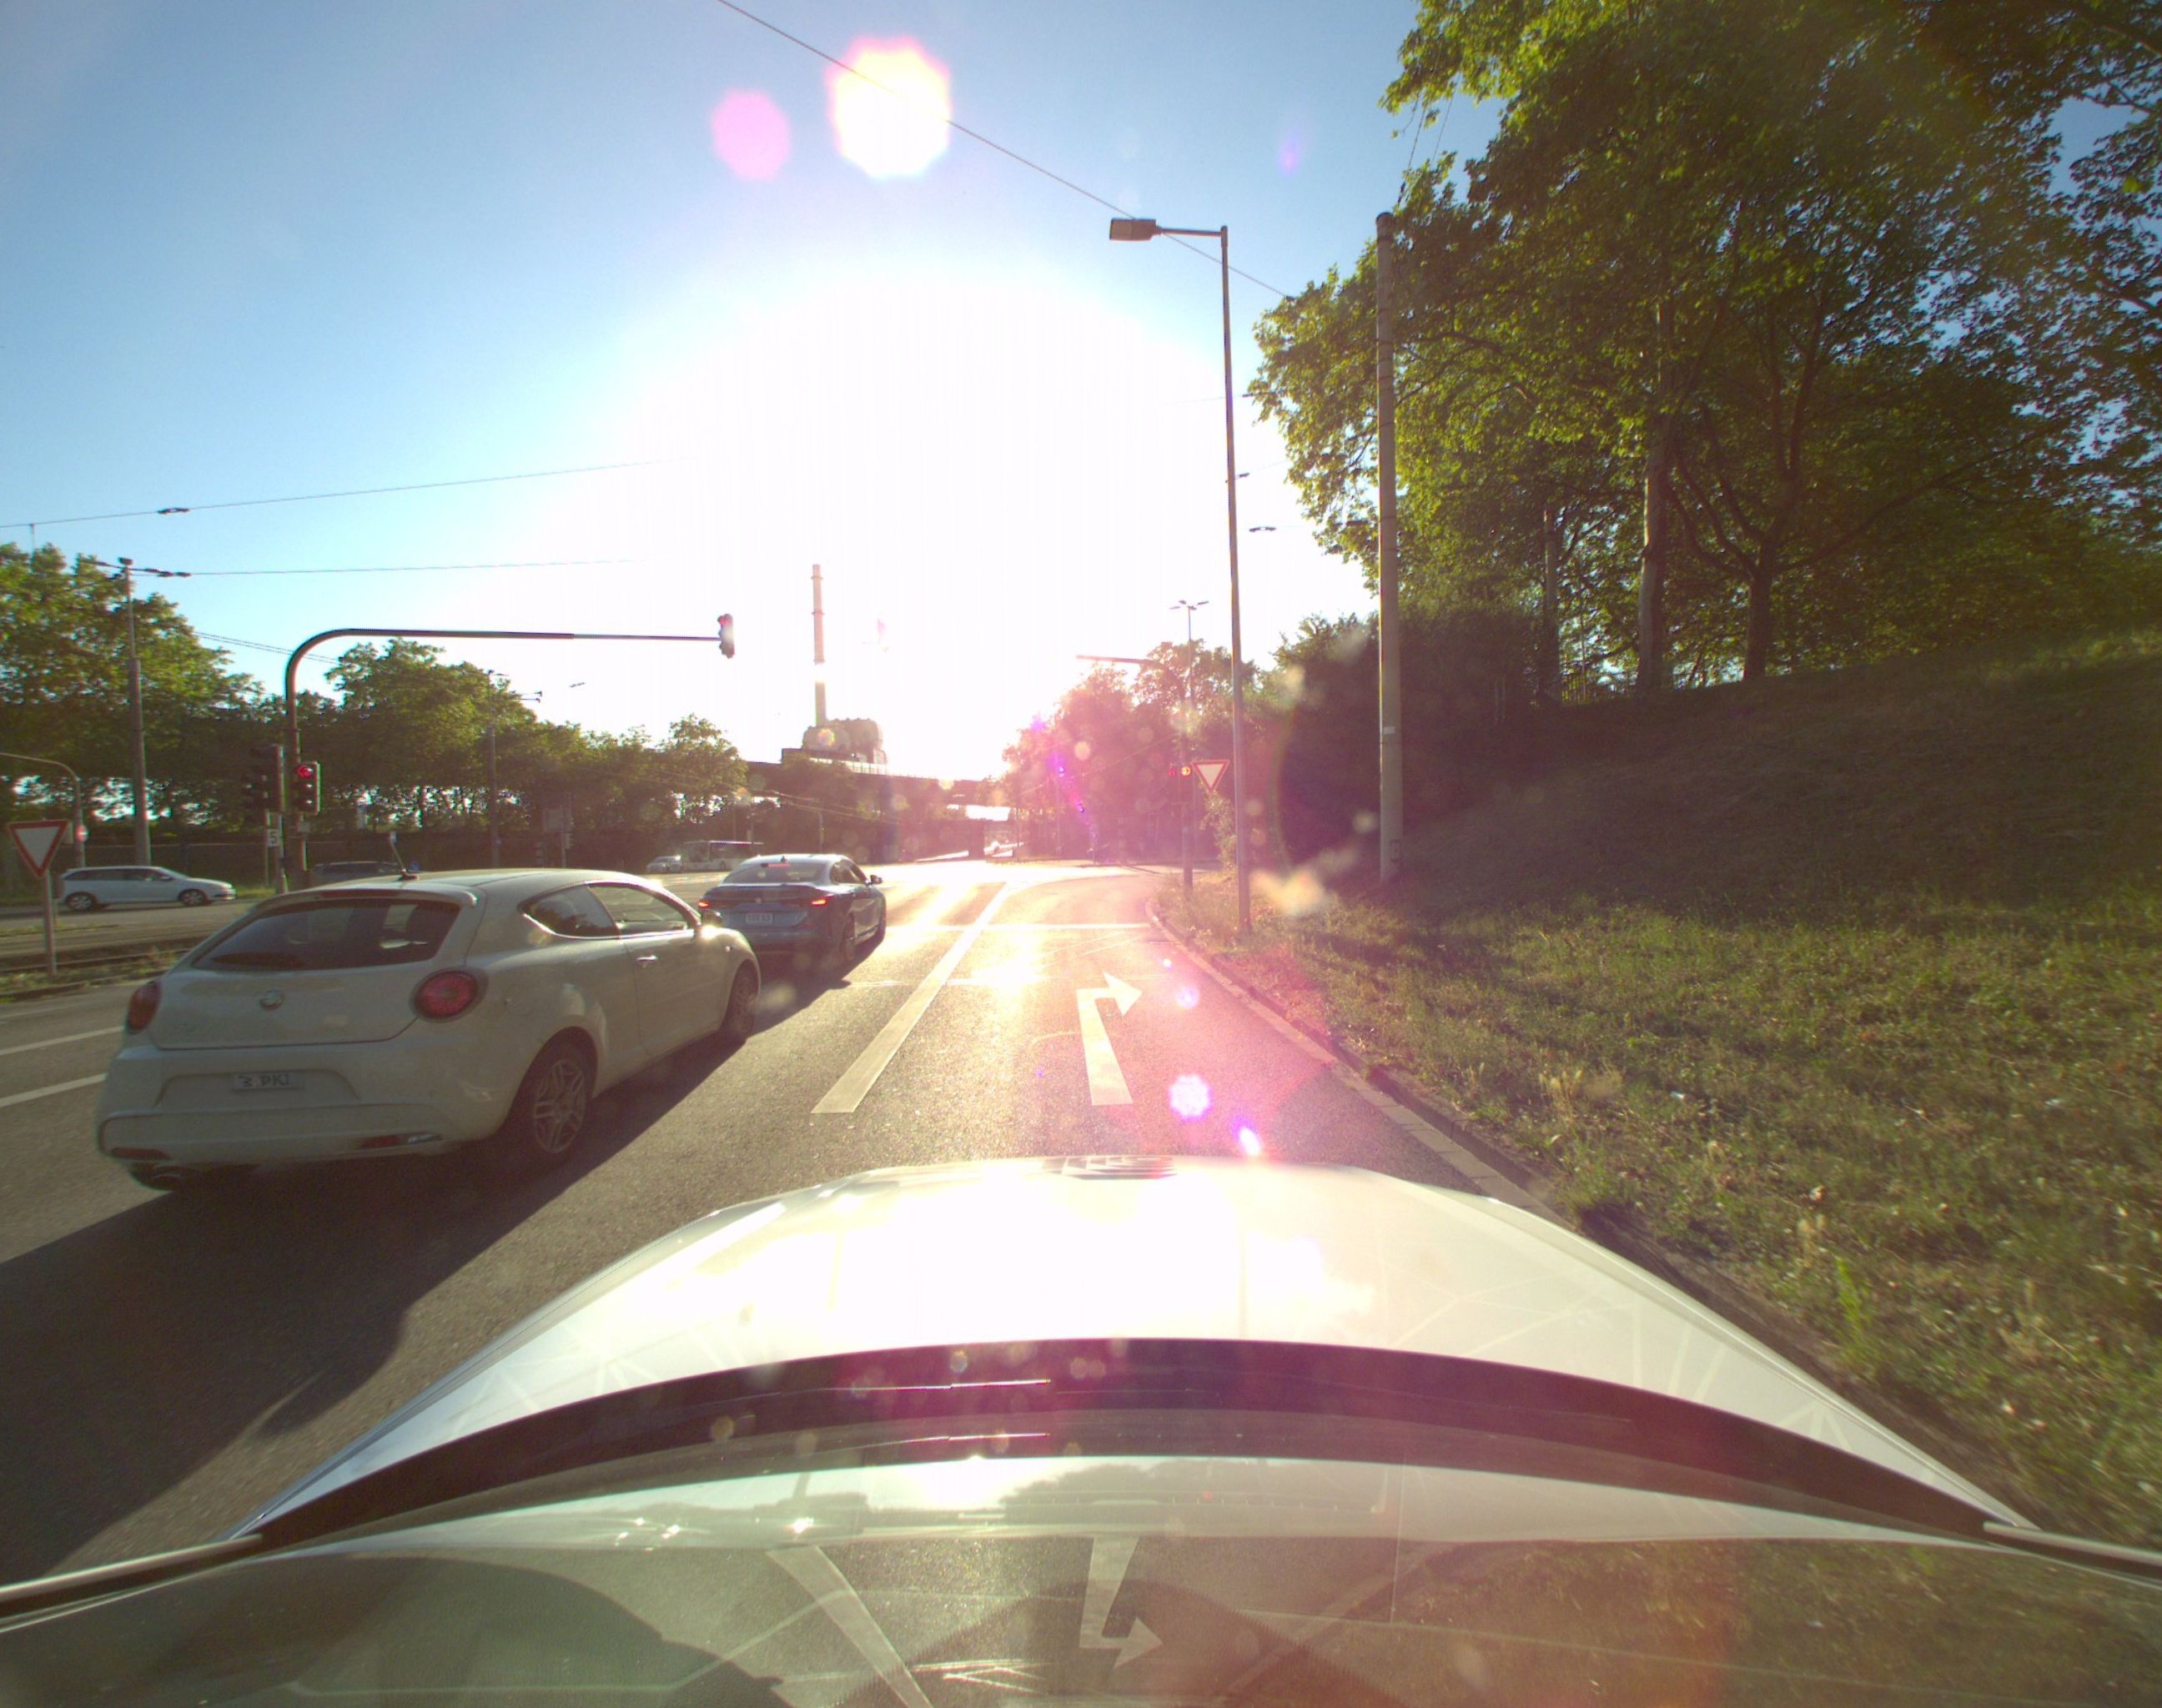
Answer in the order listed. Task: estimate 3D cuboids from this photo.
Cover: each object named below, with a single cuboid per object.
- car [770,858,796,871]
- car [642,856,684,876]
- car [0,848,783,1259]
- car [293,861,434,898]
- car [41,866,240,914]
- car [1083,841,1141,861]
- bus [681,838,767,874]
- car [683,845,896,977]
[{"bbox_3d":[-34.501,1.209,94.384,1.602,1.419,4.007,-1,1,-1],"label":"car"},{"bbox_3d":[-34.474,0.984,67.263,1.603,1.512,4.002,-1,1,-4],"label":"car"},{"bbox_3d":[-3.433,0.764,5.223,1.733,1.505,3.995,-2,1,-4],"label":"car"},{"bbox_3d":[-31.350,1.060,35.680,1.649,1.404,4.472,0,1,43],"label":"car"},{"bbox_3d":[-32.465,1.201,28.312,4.216,1.404,1.652,-1,1,-36],"label":"car"},{"bbox_3d":[2.609,-0.259,68.254,4.591,1.574,1.682,-1,1,-20],"label":"car"},{"bbox_3d":[-34.508,0.280,79.430,2.535,3.130,12.916,-2,-1,0],"label":"bus"},{"bbox_3d":[-3.878,0.640,11.635,1.710,1.465,4.202,-2,1,-4],"label":"car"}]
